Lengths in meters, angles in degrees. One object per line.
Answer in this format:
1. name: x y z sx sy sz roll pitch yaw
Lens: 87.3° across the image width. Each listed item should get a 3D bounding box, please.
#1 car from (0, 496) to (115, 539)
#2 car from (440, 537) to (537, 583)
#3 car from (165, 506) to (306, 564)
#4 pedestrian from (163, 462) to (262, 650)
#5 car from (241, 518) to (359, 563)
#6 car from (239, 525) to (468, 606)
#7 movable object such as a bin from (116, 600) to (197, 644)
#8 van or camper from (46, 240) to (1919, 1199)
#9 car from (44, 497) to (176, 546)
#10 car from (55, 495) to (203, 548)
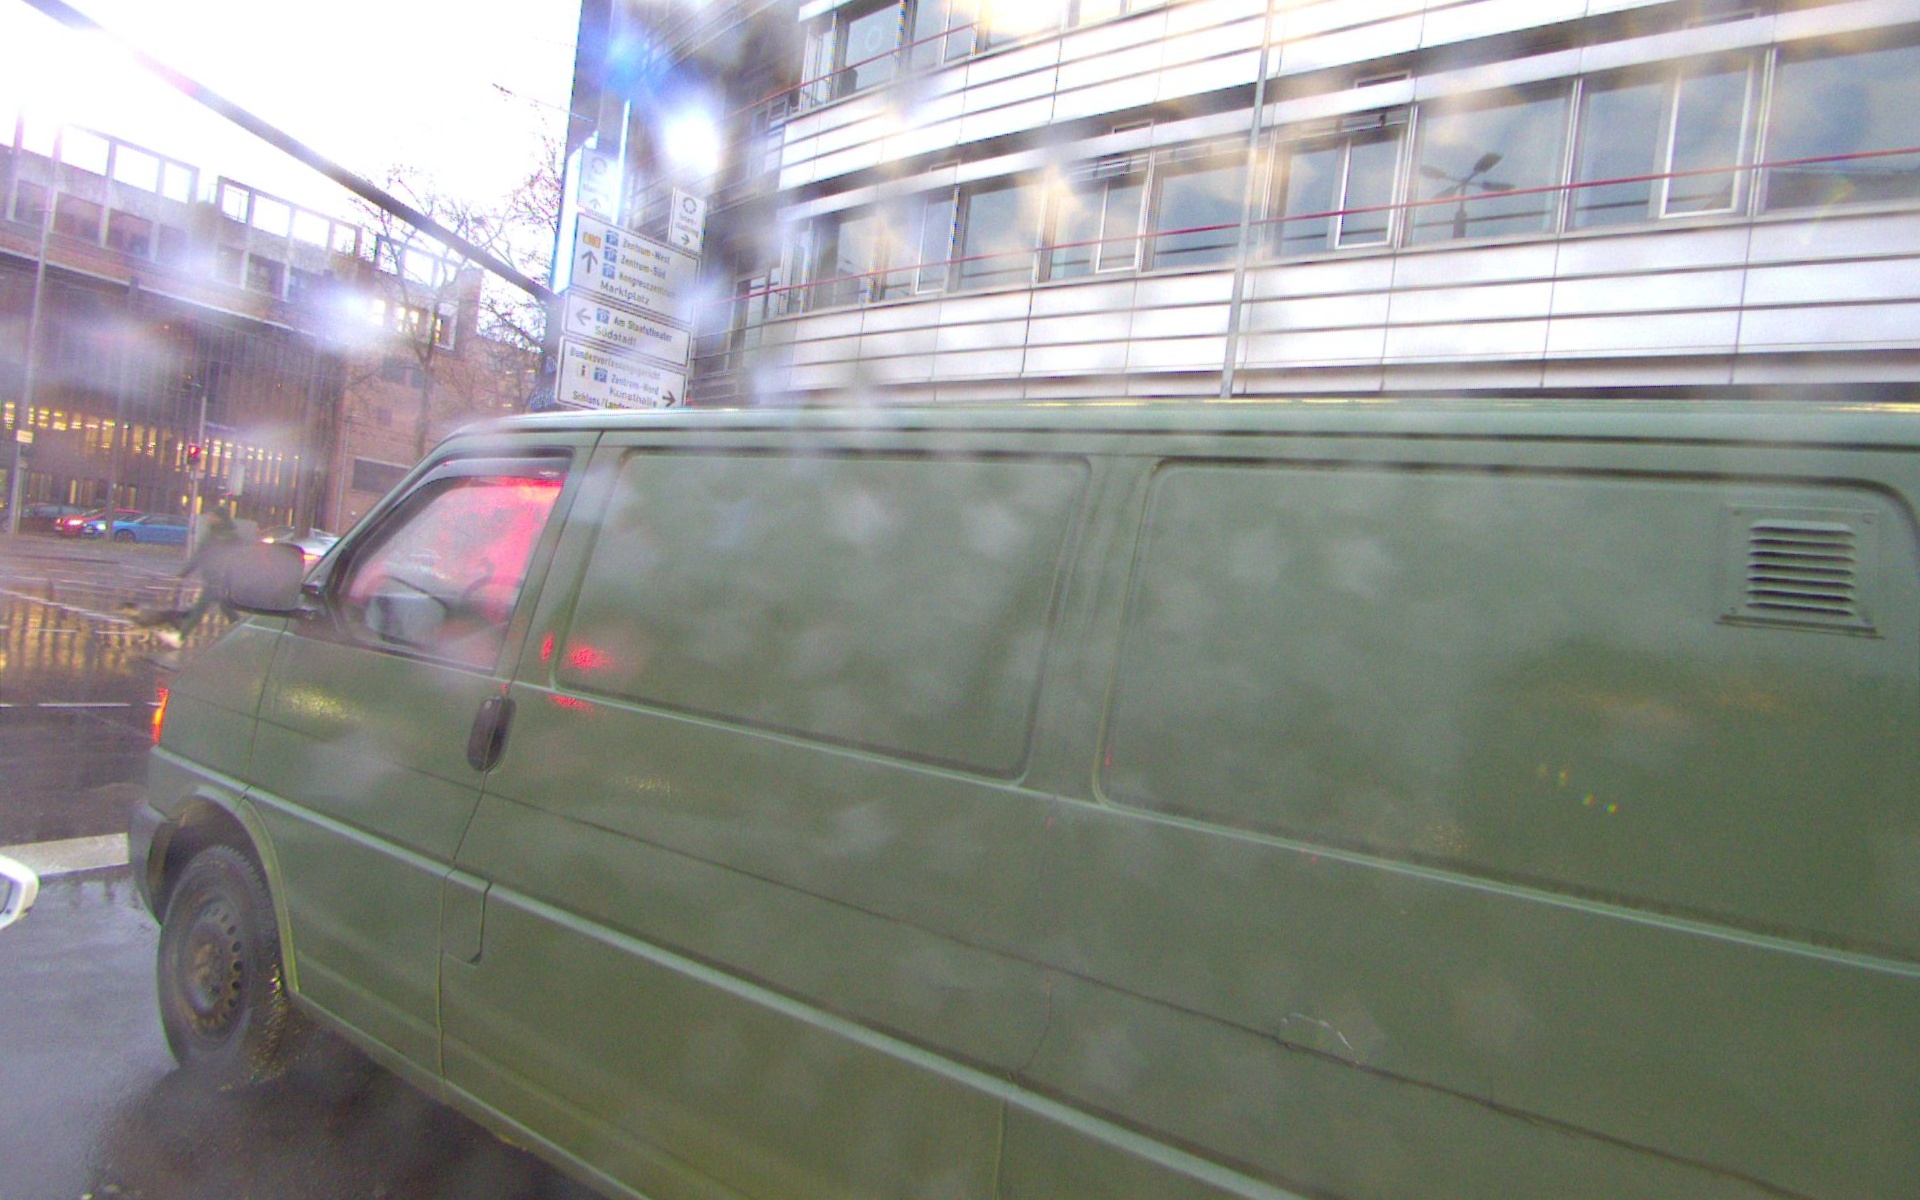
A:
1. car: -39.218 -3.564 43.215 1.965 1.326 3.994 7 0 28
2. car: -23.570 -1.984 50.412 1.814 1.621 3.997 11 1 26
3. car: -28.311 -2.512 39.447 1.814 1.523 3.997 11 1 26
4. pedestrian: -9.188 -0.532 12.372 0.609 2.210 0.576 6 0 26
5. car: -29.643 -2.661 45.310 1.814 1.304 3.997 11 1 26
6. car: -16.840 -0.905 28.256 2.214 1.627 4.998 7 0 27
7. movable object such as a bin: -9.853 0.271 12.345 0.306 0.475 0.679 6 -1 26
8. van or camper: -0.340 0.531 2.631 4.345 1.929 1.760 7 -1 32
9. car: -35.490 -3.250 42.107 1.814 1.278 3.729 11 1 26
10. car: -32.448 -3.035 39.389 1.814 1.278 3.997 11 1 26
